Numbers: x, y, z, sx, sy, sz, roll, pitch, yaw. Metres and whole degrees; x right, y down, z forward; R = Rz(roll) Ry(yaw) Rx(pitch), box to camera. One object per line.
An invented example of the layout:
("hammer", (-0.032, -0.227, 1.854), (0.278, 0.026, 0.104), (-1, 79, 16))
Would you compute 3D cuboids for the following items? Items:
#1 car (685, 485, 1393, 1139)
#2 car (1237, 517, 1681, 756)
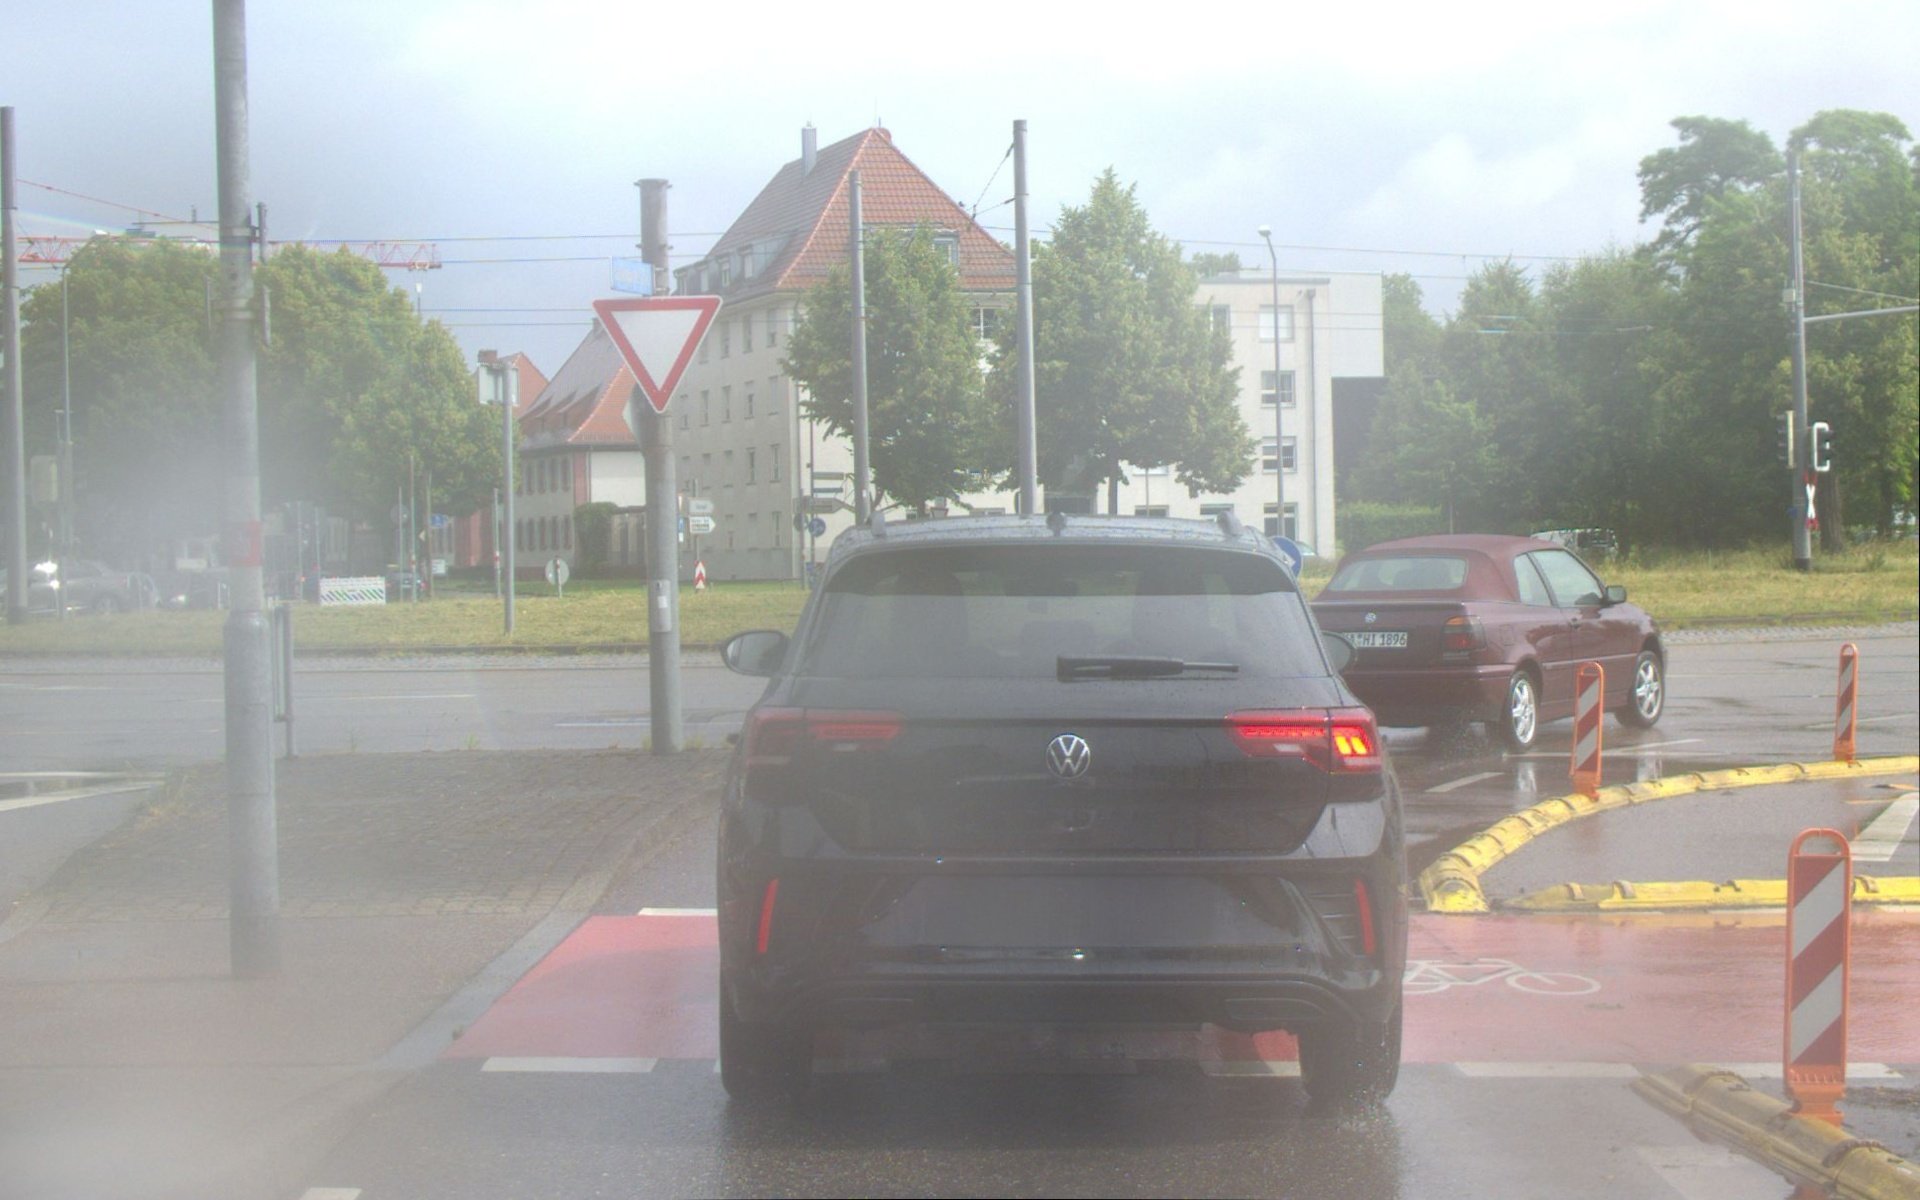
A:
("car", (0.103, 0.485, 10.128), (1.708, 1.568, 3.683), (0, 1, -3))
("car", (3.526, 0.193, 23.804), (1.738, 1.509, 3.597), (0, 1, 32))
